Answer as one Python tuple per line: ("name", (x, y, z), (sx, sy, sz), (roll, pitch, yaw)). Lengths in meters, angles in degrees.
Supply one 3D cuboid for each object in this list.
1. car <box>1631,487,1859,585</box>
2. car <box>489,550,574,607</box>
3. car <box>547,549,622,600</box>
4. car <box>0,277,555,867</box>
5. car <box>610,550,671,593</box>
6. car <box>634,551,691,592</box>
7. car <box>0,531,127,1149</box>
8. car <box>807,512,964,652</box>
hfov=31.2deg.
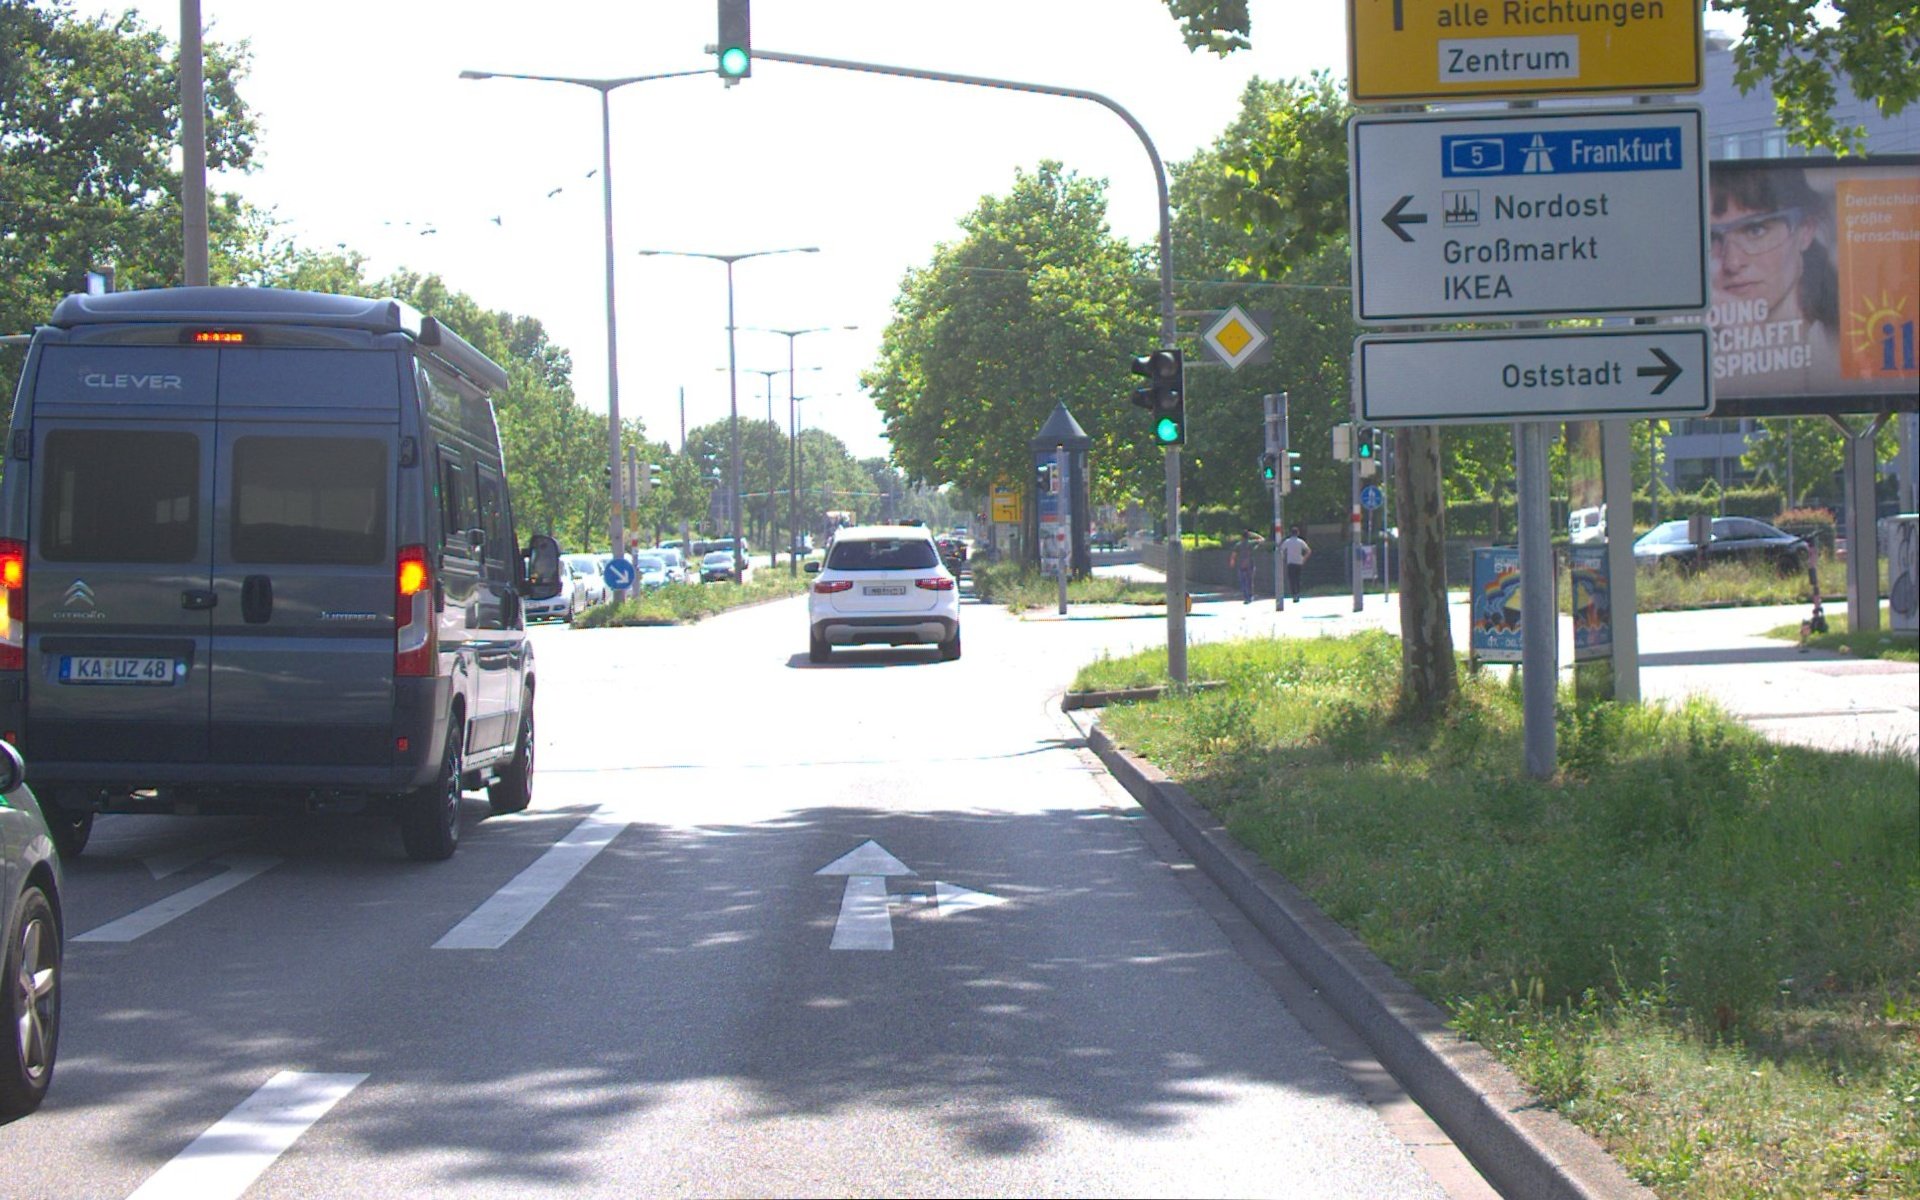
("car", (14.595, -1.181, 63.964), (3.788, 1.751, 1.604), (0, 1, -10))
("car", (-8.958, -0.465, 72.031), (1.369, 1.108, 3.207), (-2, 1, -1))
("car", (-8.640, -0.602, 79.262), (1.369, 1.108, 3.207), (-2, 1, -1))
("car", (-3.438, -0.162, 17.922), (2.081, 2.647, 4.874), (0, 1, 0))
("car", (-8.676, -0.773, 93.435), (1.369, 1.108, 3.207), (-2, 1, -1))
("car", (-8.677, -0.841, 100.385), (1.369, 1.108, 3.207), (-2, 1, -1))
("car", (-3.169, 0.592, 7.715), (1.691, 1.499, 3.886), (1, 1, -1))
("car", (-0.960, -0.266, 42.746), (1.853, 1.601, 4.001), (0, 2, -2))
